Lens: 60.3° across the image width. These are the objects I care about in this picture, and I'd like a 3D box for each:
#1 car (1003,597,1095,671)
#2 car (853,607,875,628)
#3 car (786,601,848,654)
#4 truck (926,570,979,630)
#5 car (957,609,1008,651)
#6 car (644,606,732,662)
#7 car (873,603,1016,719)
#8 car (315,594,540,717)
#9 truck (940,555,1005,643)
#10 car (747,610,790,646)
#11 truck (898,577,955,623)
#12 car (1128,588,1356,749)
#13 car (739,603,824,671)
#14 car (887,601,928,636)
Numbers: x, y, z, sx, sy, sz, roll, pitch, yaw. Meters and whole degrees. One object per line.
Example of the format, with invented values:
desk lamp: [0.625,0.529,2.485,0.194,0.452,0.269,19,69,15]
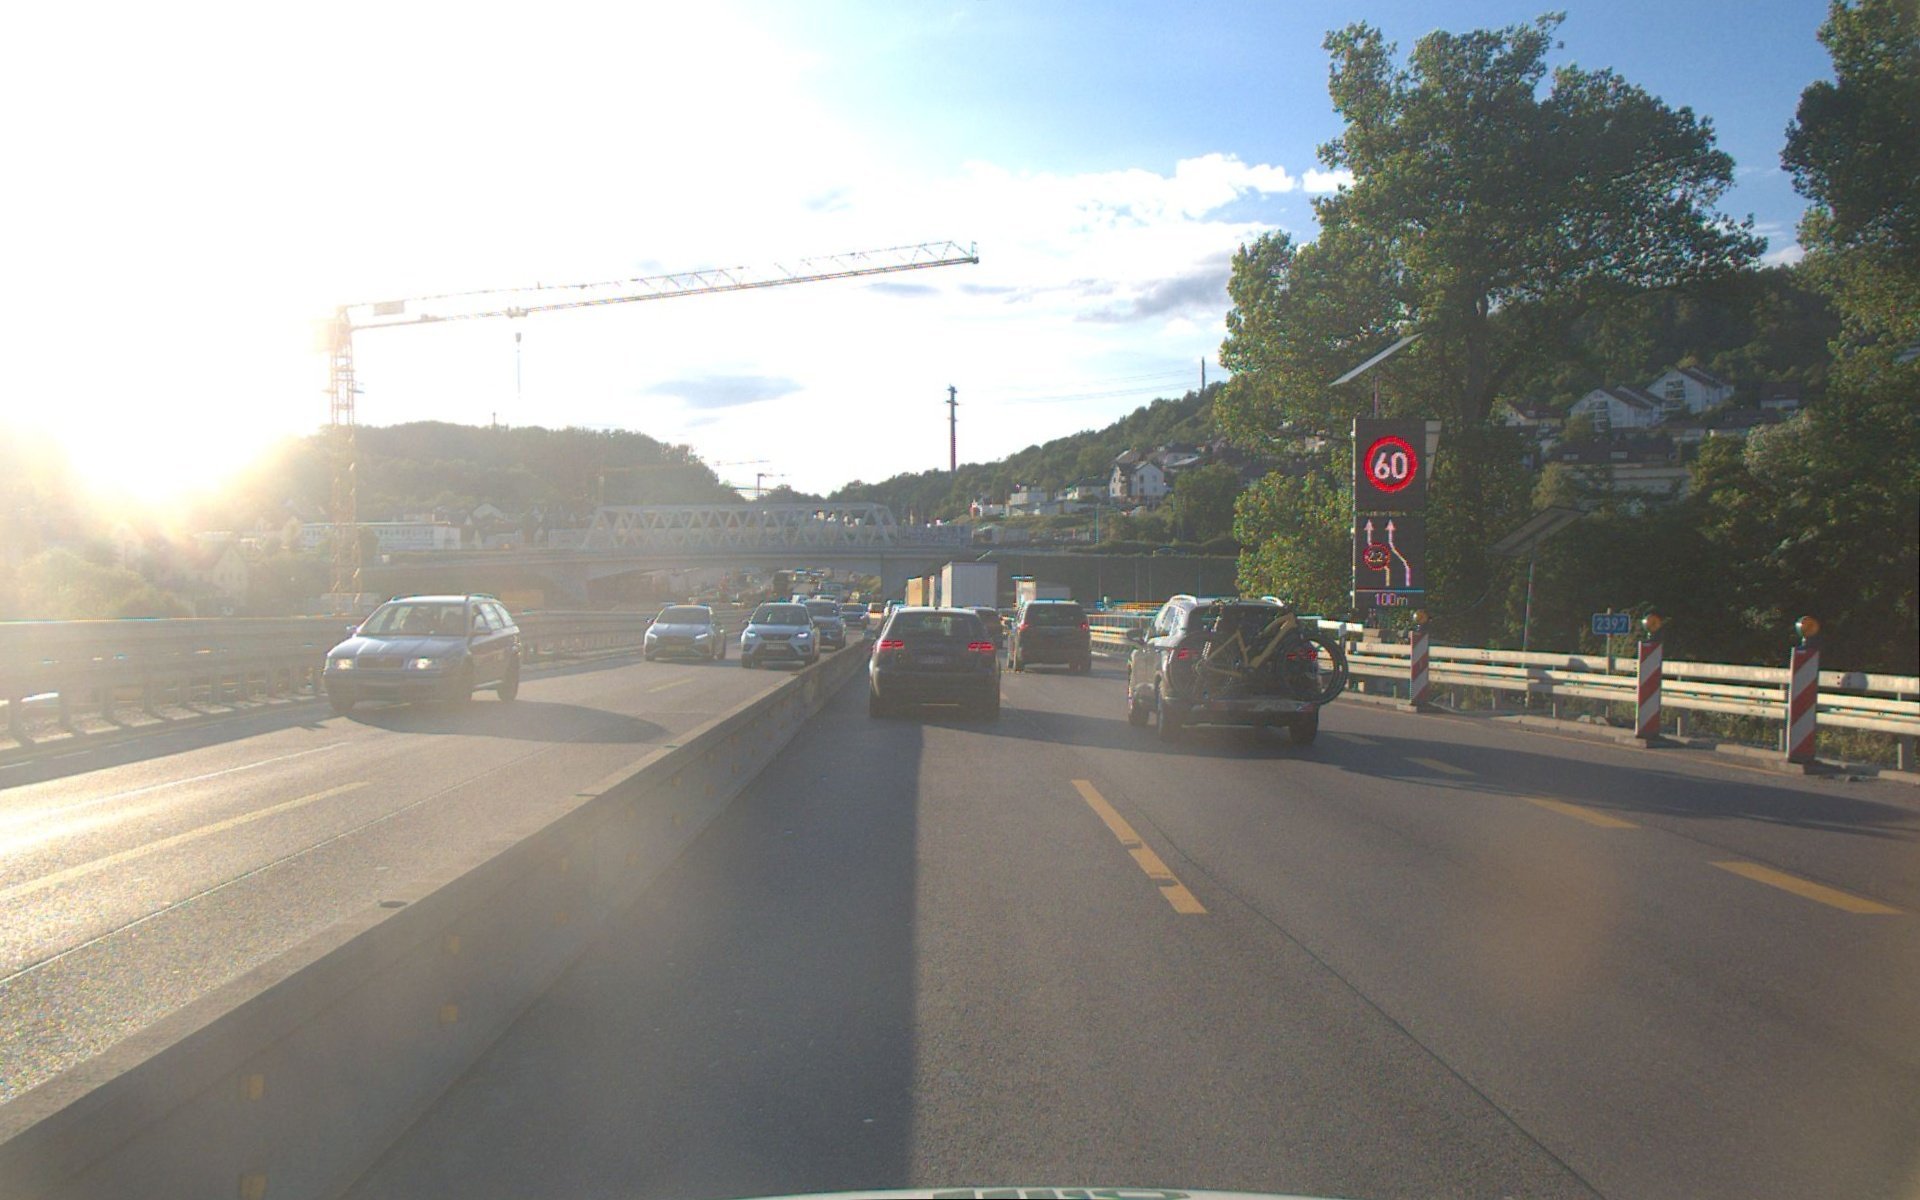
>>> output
car: [2.086,0.777,39.767,1.778,1.661,4.409,1,0,-2]
car: [-7.966,1.418,137.431,1.801,1.668,3.998,-1,0,-3]
car: [-5.009,0.947,58.384,1.953,1.789,4.658,1,0,-2]
truck: [-0.739,-0.097,136.657,3.812,4.576,15.262,1,1,-2]
car: [0.868,1.177,66.407,1.735,1.580,3.997,2,0,-3]
car: [-7.244,0.900,44.395,1.738,1.406,4.530,0,-1,-2]
car: [-0.300,0.766,22.593,1.735,1.414,3.997,1,0,-3]
car: [-7.066,0.675,22.429,1.643,1.447,4.577,1,0,-1]
truck: [0.589,-0.266,95.664,3.317,4.576,15.267,1,2,-1]
car: [-9.057,1.312,78.379,1.676,1.579,3.999,-1,0,-2]
truck: [-3.668,-0.061,175.755,3.820,4.576,13.813,1,1,-11]
car: [3.103,0.707,19.205,1.837,1.627,4.965,0,0,0]
car: [-4.280,0.853,40.183,1.768,1.538,3.998,0,0,-2]
car: [-2.495,0.841,77.250,1.730,1.512,3.997,2,0,-4]
